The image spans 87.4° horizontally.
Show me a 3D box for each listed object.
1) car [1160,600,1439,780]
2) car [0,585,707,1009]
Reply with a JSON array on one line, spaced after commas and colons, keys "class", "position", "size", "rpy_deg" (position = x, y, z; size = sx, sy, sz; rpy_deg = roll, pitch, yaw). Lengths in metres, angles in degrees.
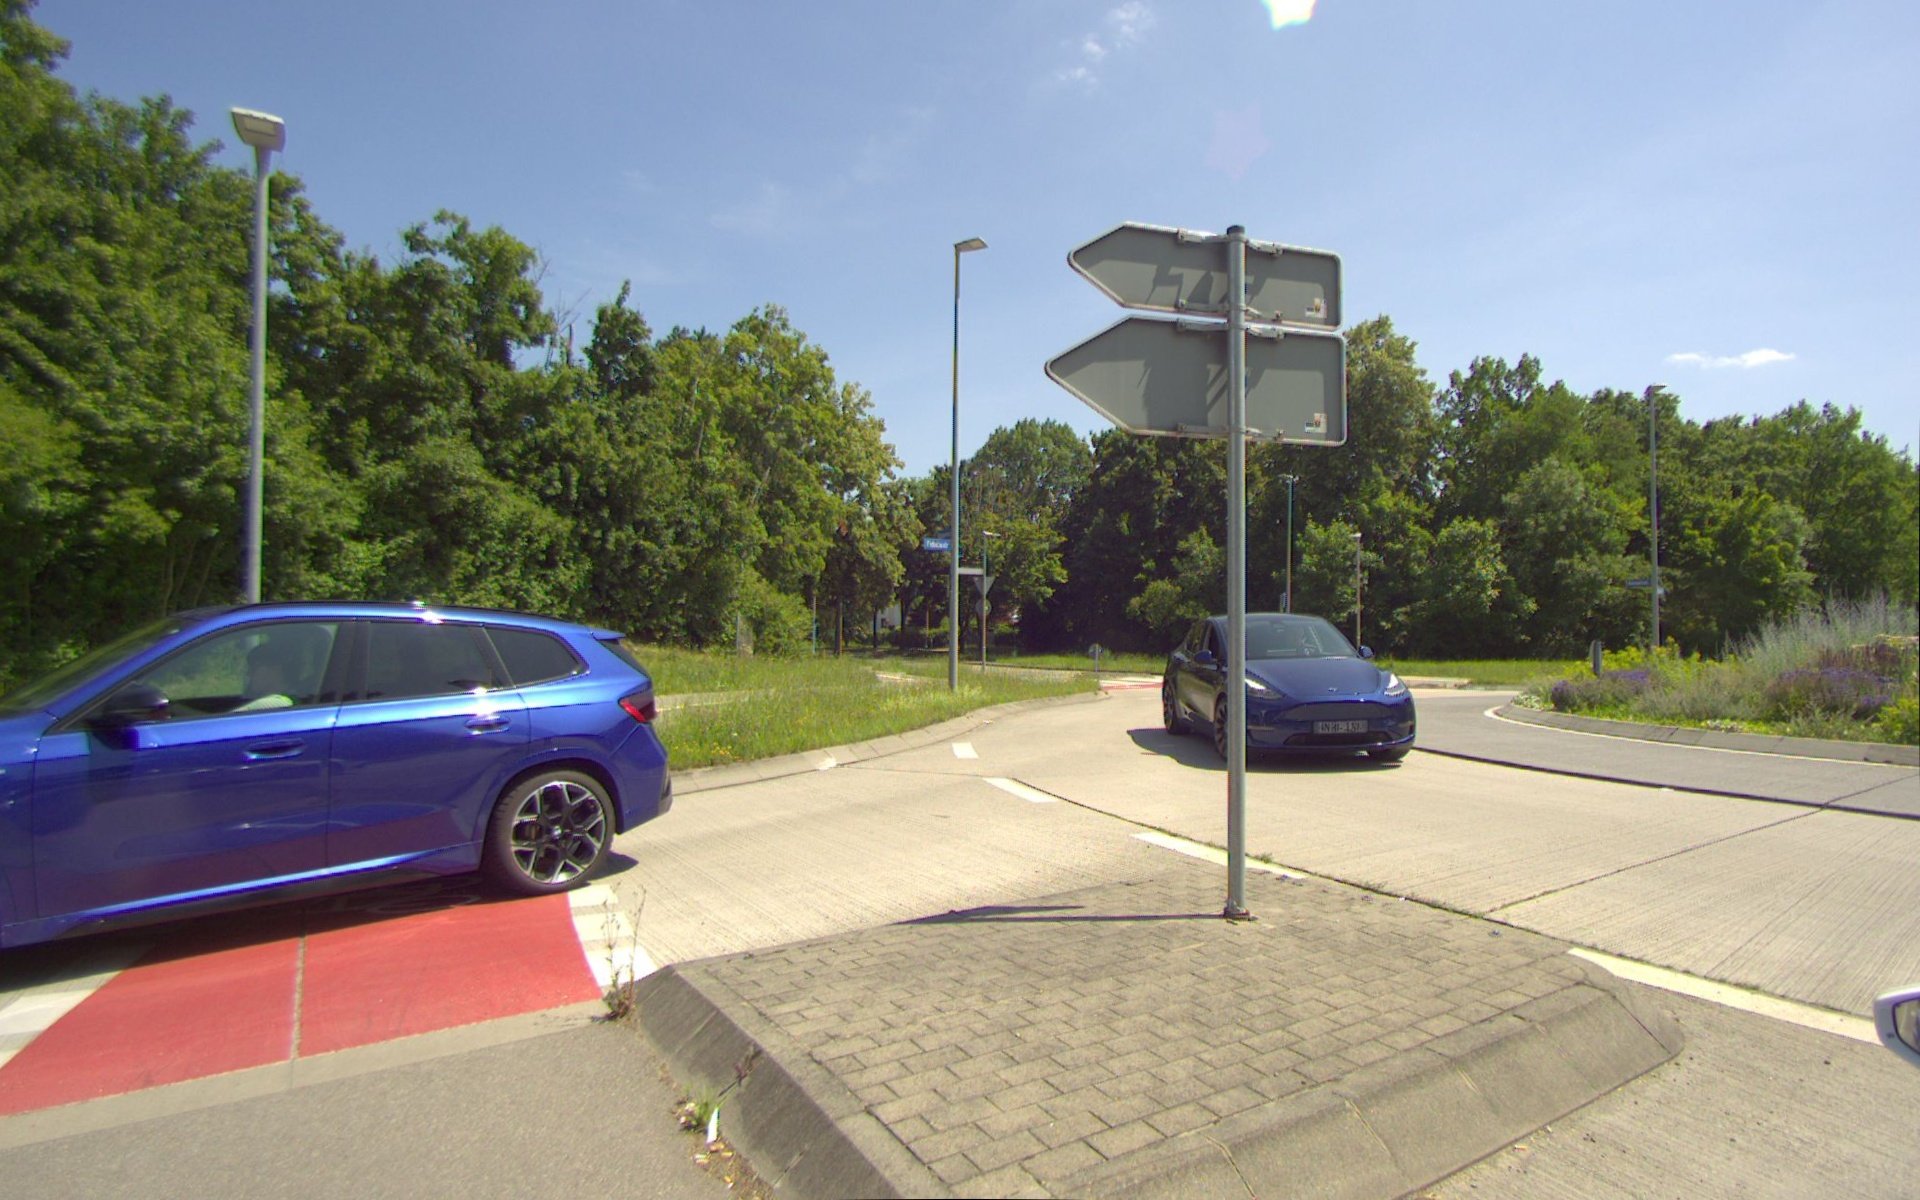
[{"class": "car", "position": [3.677, 0.907, 11.857], "size": [1.960, 1.661, 4.760], "rpy_deg": [1, -1, 4]}, {"class": "car", "position": [-3.725, 0.791, 5.266], "size": [1.972, 1.617, 4.299], "rpy_deg": [-2, -2, 42]}]
